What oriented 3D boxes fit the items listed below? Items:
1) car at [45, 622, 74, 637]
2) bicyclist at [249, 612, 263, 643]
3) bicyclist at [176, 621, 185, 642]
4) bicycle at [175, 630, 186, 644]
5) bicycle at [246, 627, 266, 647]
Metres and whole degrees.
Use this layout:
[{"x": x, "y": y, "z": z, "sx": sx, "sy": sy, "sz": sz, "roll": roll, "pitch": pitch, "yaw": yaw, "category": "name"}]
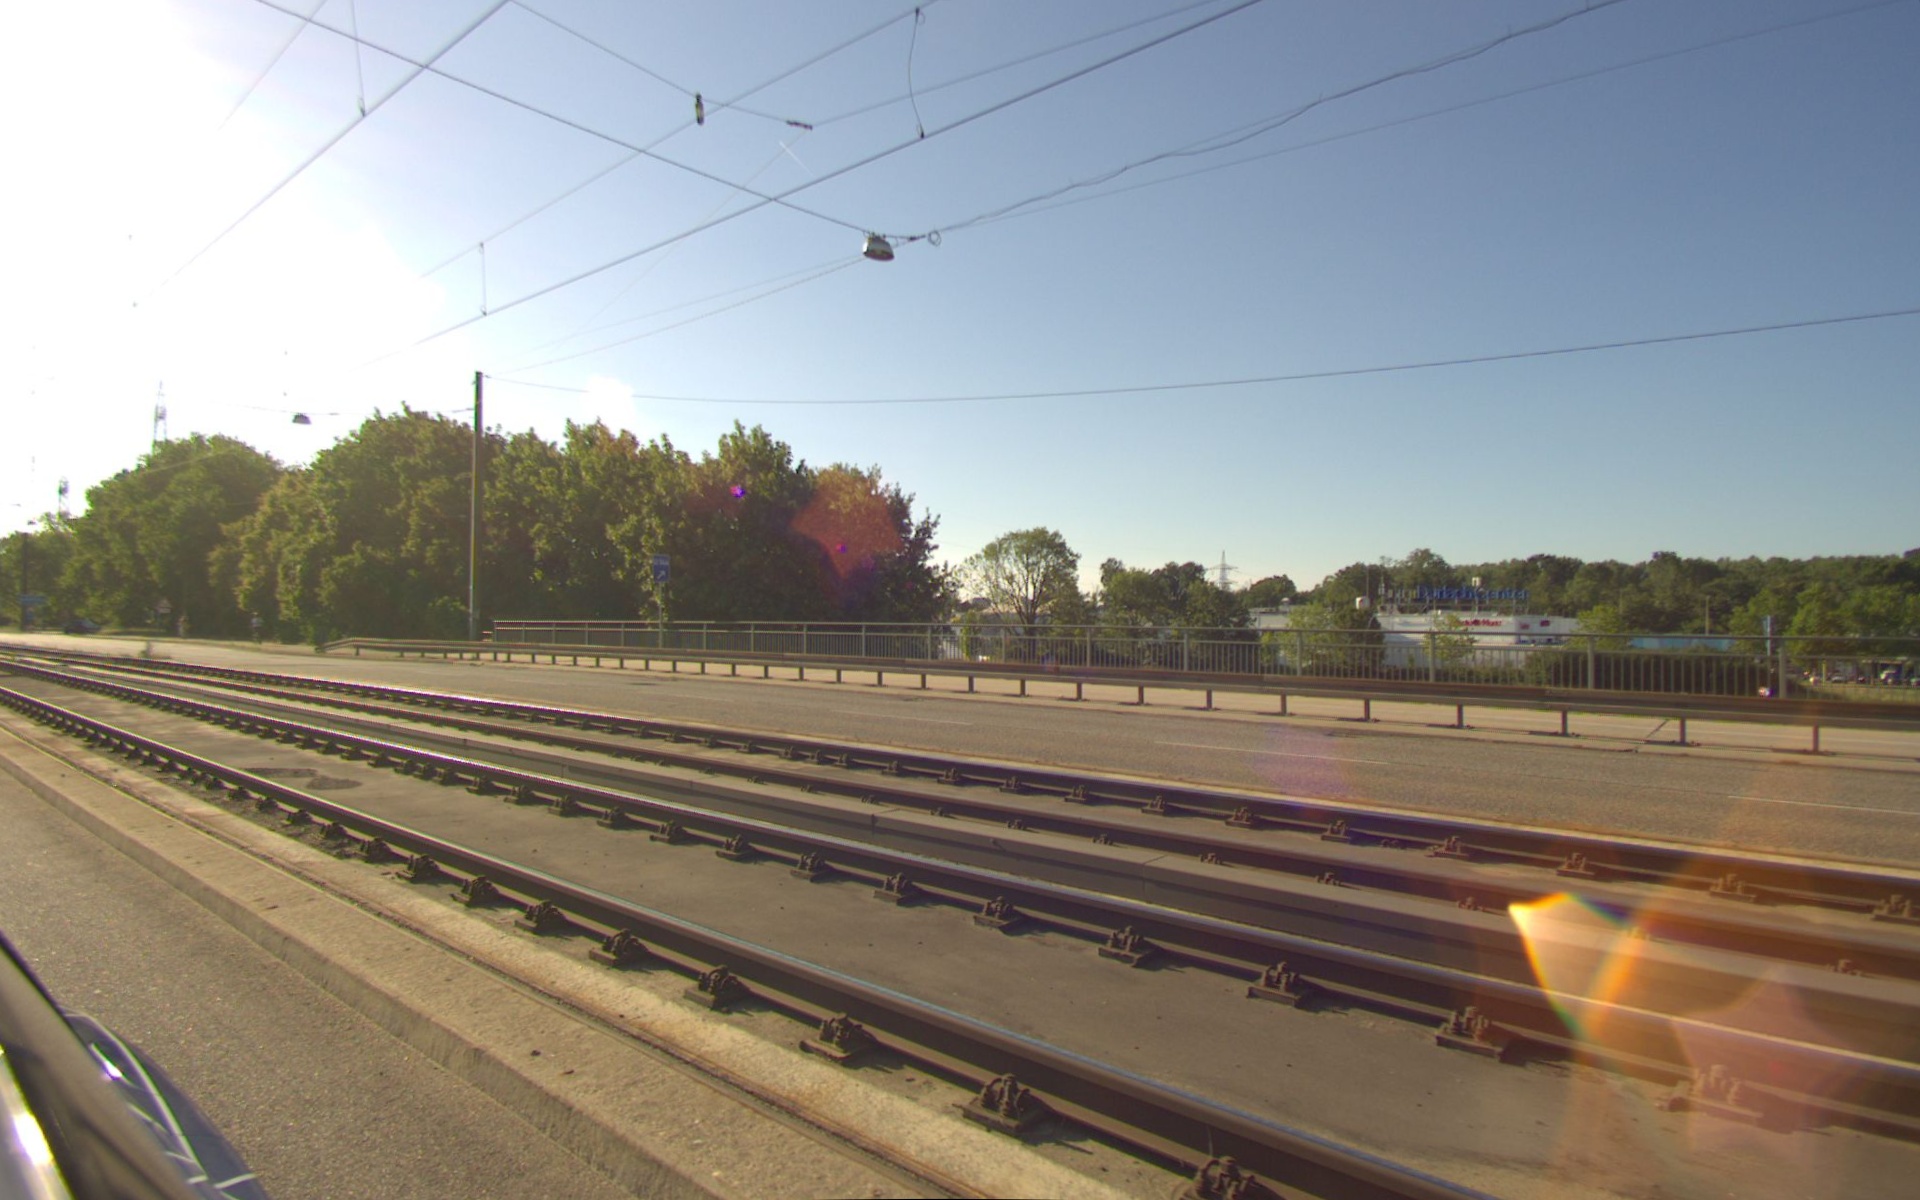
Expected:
[{"x": -97.699, "y": 3.177, "z": 109.787, "sx": 3.955, "sy": 1.533, "sz": 1.952, "roll": 0, "pitch": 0, "yaw": 41, "category": "car"}, {"x": -39.800, "y": 1.540, "z": 57.213, "sx": 0.832, "sy": 1.764, "sz": 0.492, "roll": 0, "pitch": 0, "yaw": 40, "category": "bicyclist"}, {"x": -55.187, "y": 2.239, "z": 71.633, "sx": 0.417, "sy": 1.439, "sz": 0.755, "roll": 0, "pitch": 0, "yaw": -43, "category": "bicyclist"}, {"x": -55.255, "y": 2.617, "z": 71.718, "sx": 0.420, "sy": 0.971, "sz": 1.915, "roll": 0, "pitch": 0, "yaw": -43, "category": "bicycle"}, {"x": -39.773, "y": 2.093, "z": 57.191, "sx": 1.726, "sy": 1.060, "sz": 0.498, "roll": 0, "pitch": 0, "yaw": 41, "category": "bicycle"}]
